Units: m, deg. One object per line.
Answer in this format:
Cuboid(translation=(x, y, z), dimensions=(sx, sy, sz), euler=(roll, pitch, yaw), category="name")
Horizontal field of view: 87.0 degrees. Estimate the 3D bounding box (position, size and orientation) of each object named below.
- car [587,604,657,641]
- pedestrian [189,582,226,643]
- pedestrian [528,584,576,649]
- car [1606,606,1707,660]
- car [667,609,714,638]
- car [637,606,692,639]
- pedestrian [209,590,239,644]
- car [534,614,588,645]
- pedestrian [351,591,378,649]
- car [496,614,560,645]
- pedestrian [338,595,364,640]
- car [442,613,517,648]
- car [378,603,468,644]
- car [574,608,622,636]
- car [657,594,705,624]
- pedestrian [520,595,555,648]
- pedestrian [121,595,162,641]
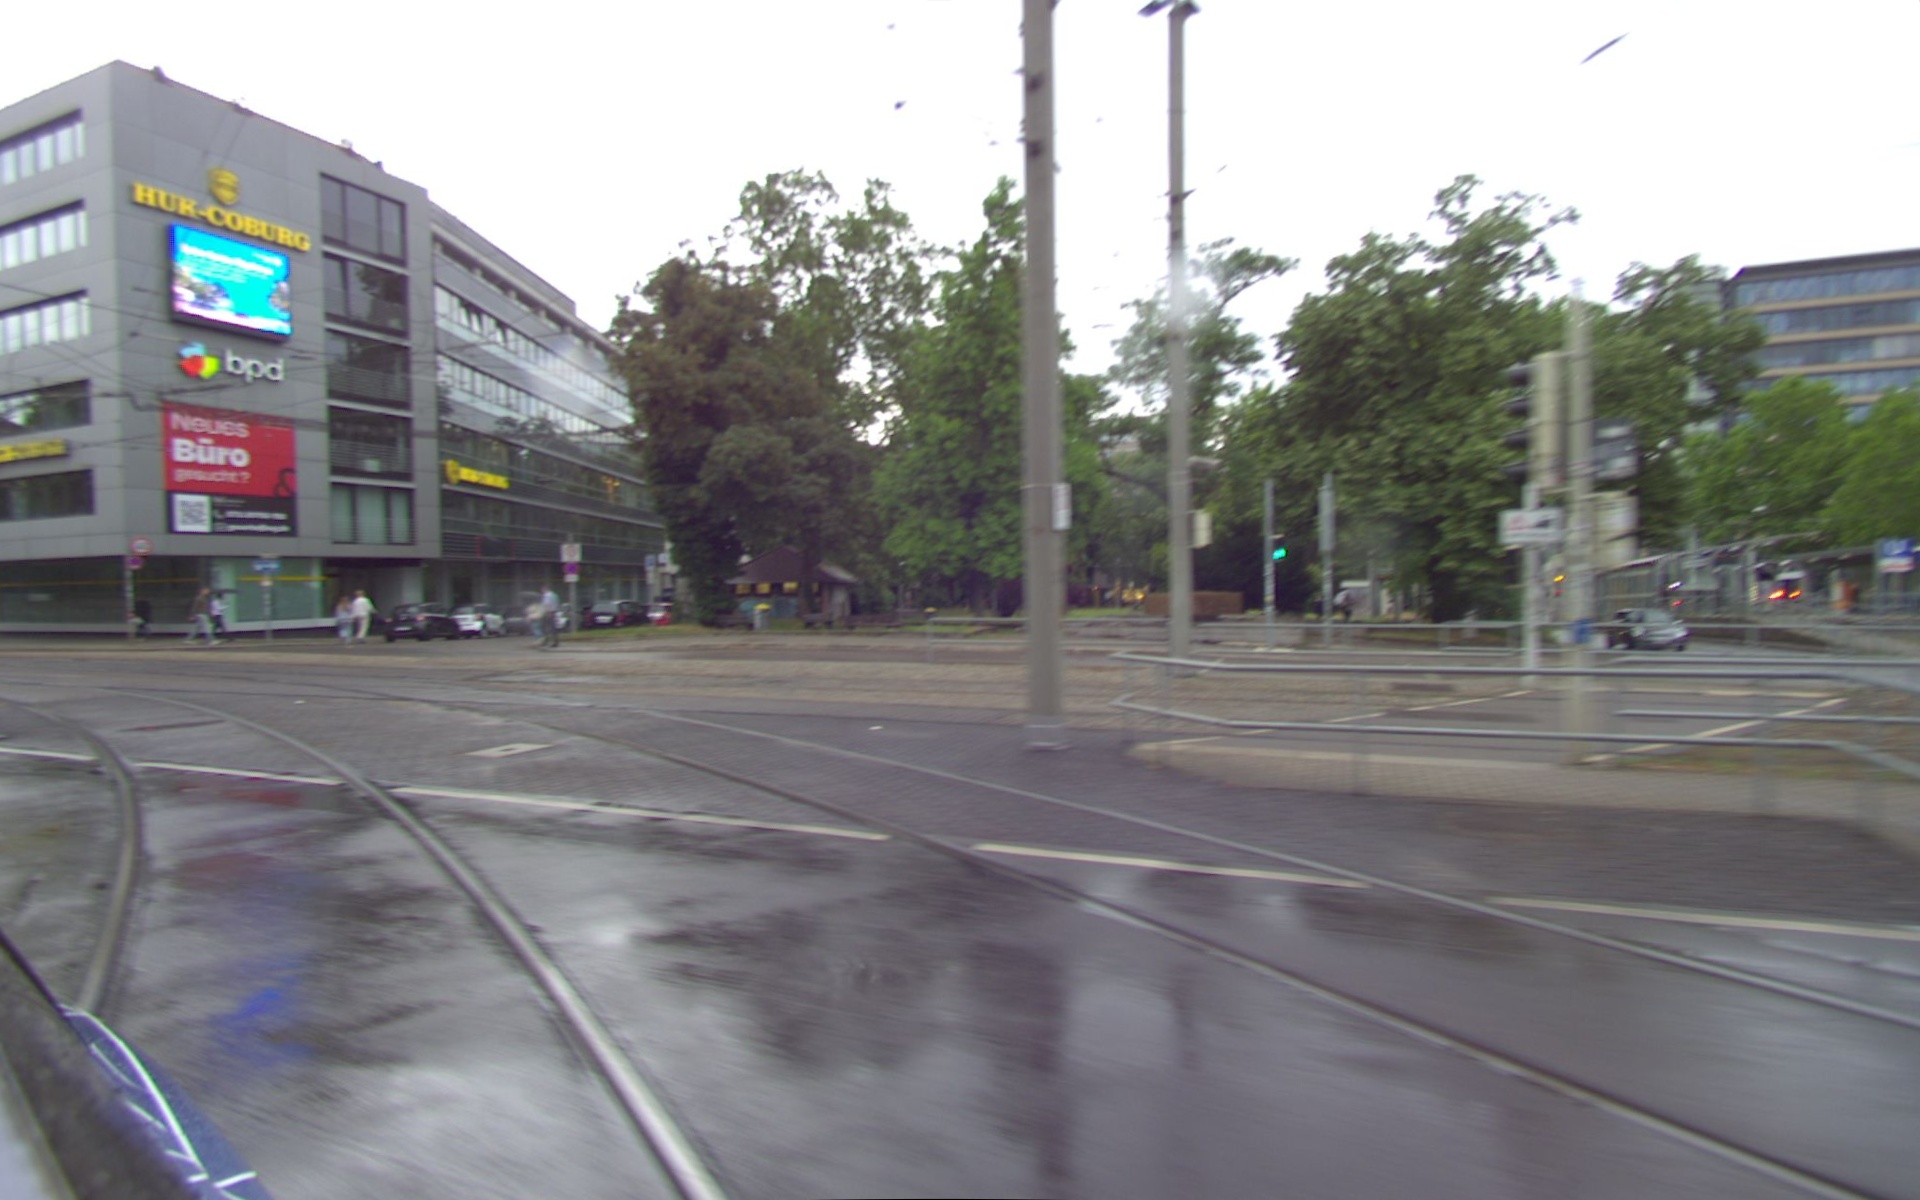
Cuboid(translation=(-13.953, 0.907, 41.946), dimensions=(1.679, 1.459, 3.538), euler=(-1, -1, 2), category="car")
Cuboid(translation=(-25.729, 0.411, 34.614), dimensions=(0.806, 2.028, 0.657), euler=(-1, 2, 25), category="pedestrian")
Cuboid(translation=(-12.276, 0.480, 30.486), dimensions=(0.903, 1.876, 1.001), euler=(-1, 2, 8), category="pedestrian")
Cuboid(translation=(23.757, 1.091, 34.671), dimensions=(1.987, 1.719, 3.970), euler=(-1, -1, 22), category="car")
Cuboid(translation=(-14.168, 1.239, 53.393), dimensions=(1.678, 1.459, 3.541), euler=(0, -1, -2), category="car")
Cuboid(translation=(-13.805, 1.026, 47.399), dimensions=(1.678, 1.459, 3.541), euler=(0, -1, -2), category="car")
Cuboid(translation=(-25.895, 0.573, 35.620), dimensions=(0.652, 1.829, 0.976), euler=(-2, 2, -28), category="pedestrian")
Cuboid(translation=(-21.248, 1.558, 54.024), dimensions=(1.677, 1.567, 3.542), euler=(0, -1, -3), category="car")
Cuboid(translation=(-21.415, 0.712, 36.394), dimensions=(0.606, 2.028, 0.665), euler=(-2, 2, -14), category="pedestrian")
Cuboid(translation=(-20.814, 1.402, 48.928), dimensions=(1.677, 1.465, 3.744), euler=(0, -1, -3), category="car")
Cuboid(translation=(-22.218, 0.617, 36.913), dimensions=(0.635, 1.606, 0.581), euler=(0, 3, 41), category="pedestrian")
Cuboid(translation=(-21.039, 1.300, 44.449), dimensions=(1.677, 1.465, 3.744), euler=(0, -1, -3), category="car")
Cuboid(translation=(-21.320, 0.918, 40.347), dimensions=(1.678, 1.562, 3.742), euler=(0, -1, -1), category="car")
Cuboid(translation=(-20.820, 1.246, 58.330), dimensions=(1.677, 1.567, 3.542), euler=(0, -1, -3), category="car")
Cuboid(translation=(-21.131, 0.705, 76.967), dimensions=(2.300, 2.237, 5.069), euler=(0, -1, -1), category="car")
Cuboid(translation=(-13.527, 0.667, 32.391), dimensions=(0.898, 1.606, 1.006), euler=(-3, 2, -29), category="pedestrian")
Cuboid(translation=(-29.667, 0.639, 36.691), dimensions=(0.586, 1.606, 0.958), euler=(0, 2, 28), category="pedestrian")
